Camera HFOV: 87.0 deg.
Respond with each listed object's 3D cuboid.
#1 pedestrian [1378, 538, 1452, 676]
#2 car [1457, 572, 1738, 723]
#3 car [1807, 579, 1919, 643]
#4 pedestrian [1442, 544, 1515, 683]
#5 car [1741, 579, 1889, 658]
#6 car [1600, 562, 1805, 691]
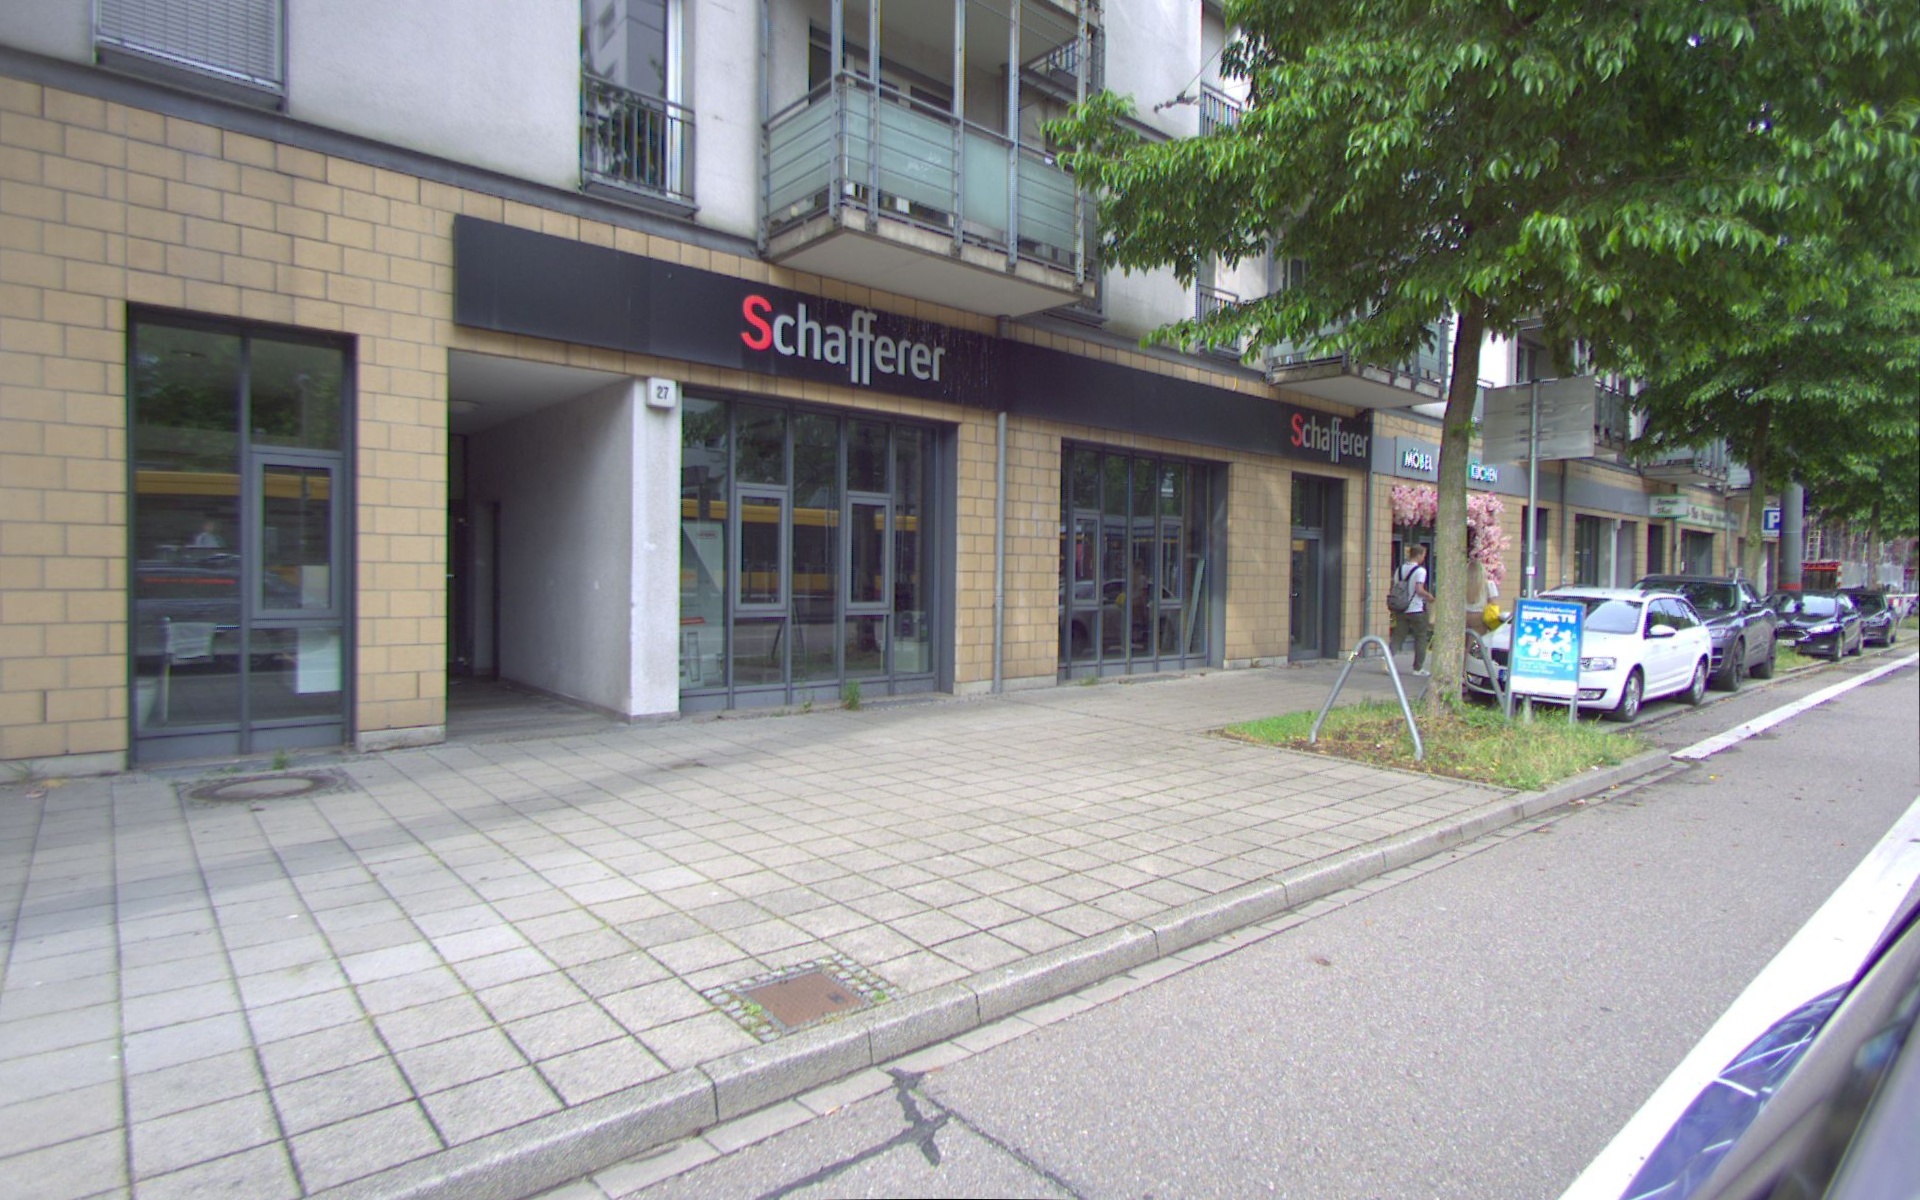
[{"bbox_3d":[6.539,0.086,14.545,0.724,1.914,0.677,0,2,-39],"label":"pedestrian"},{"bbox_3d":[8.126,0.457,12.750,4.312,1.517,1.681,-1,4,-40],"label":"car"},{"bbox_3d":[24.353,0.223,27.245,4.315,1.472,1.800,-1,5,-43],"label":"car"},{"bbox_3d":[7.095,0.165,13.854,0.724,1.828,0.617,0,2,-39],"label":"pedestrian"},{"bbox_3d":[18.716,0.326,22.091,4.329,1.459,1.681,-1,4,-40],"label":"car"},{"bbox_3d":[12.073,0.308,16.325,4.632,1.737,1.715,-1,5,-42],"label":"car"}]
